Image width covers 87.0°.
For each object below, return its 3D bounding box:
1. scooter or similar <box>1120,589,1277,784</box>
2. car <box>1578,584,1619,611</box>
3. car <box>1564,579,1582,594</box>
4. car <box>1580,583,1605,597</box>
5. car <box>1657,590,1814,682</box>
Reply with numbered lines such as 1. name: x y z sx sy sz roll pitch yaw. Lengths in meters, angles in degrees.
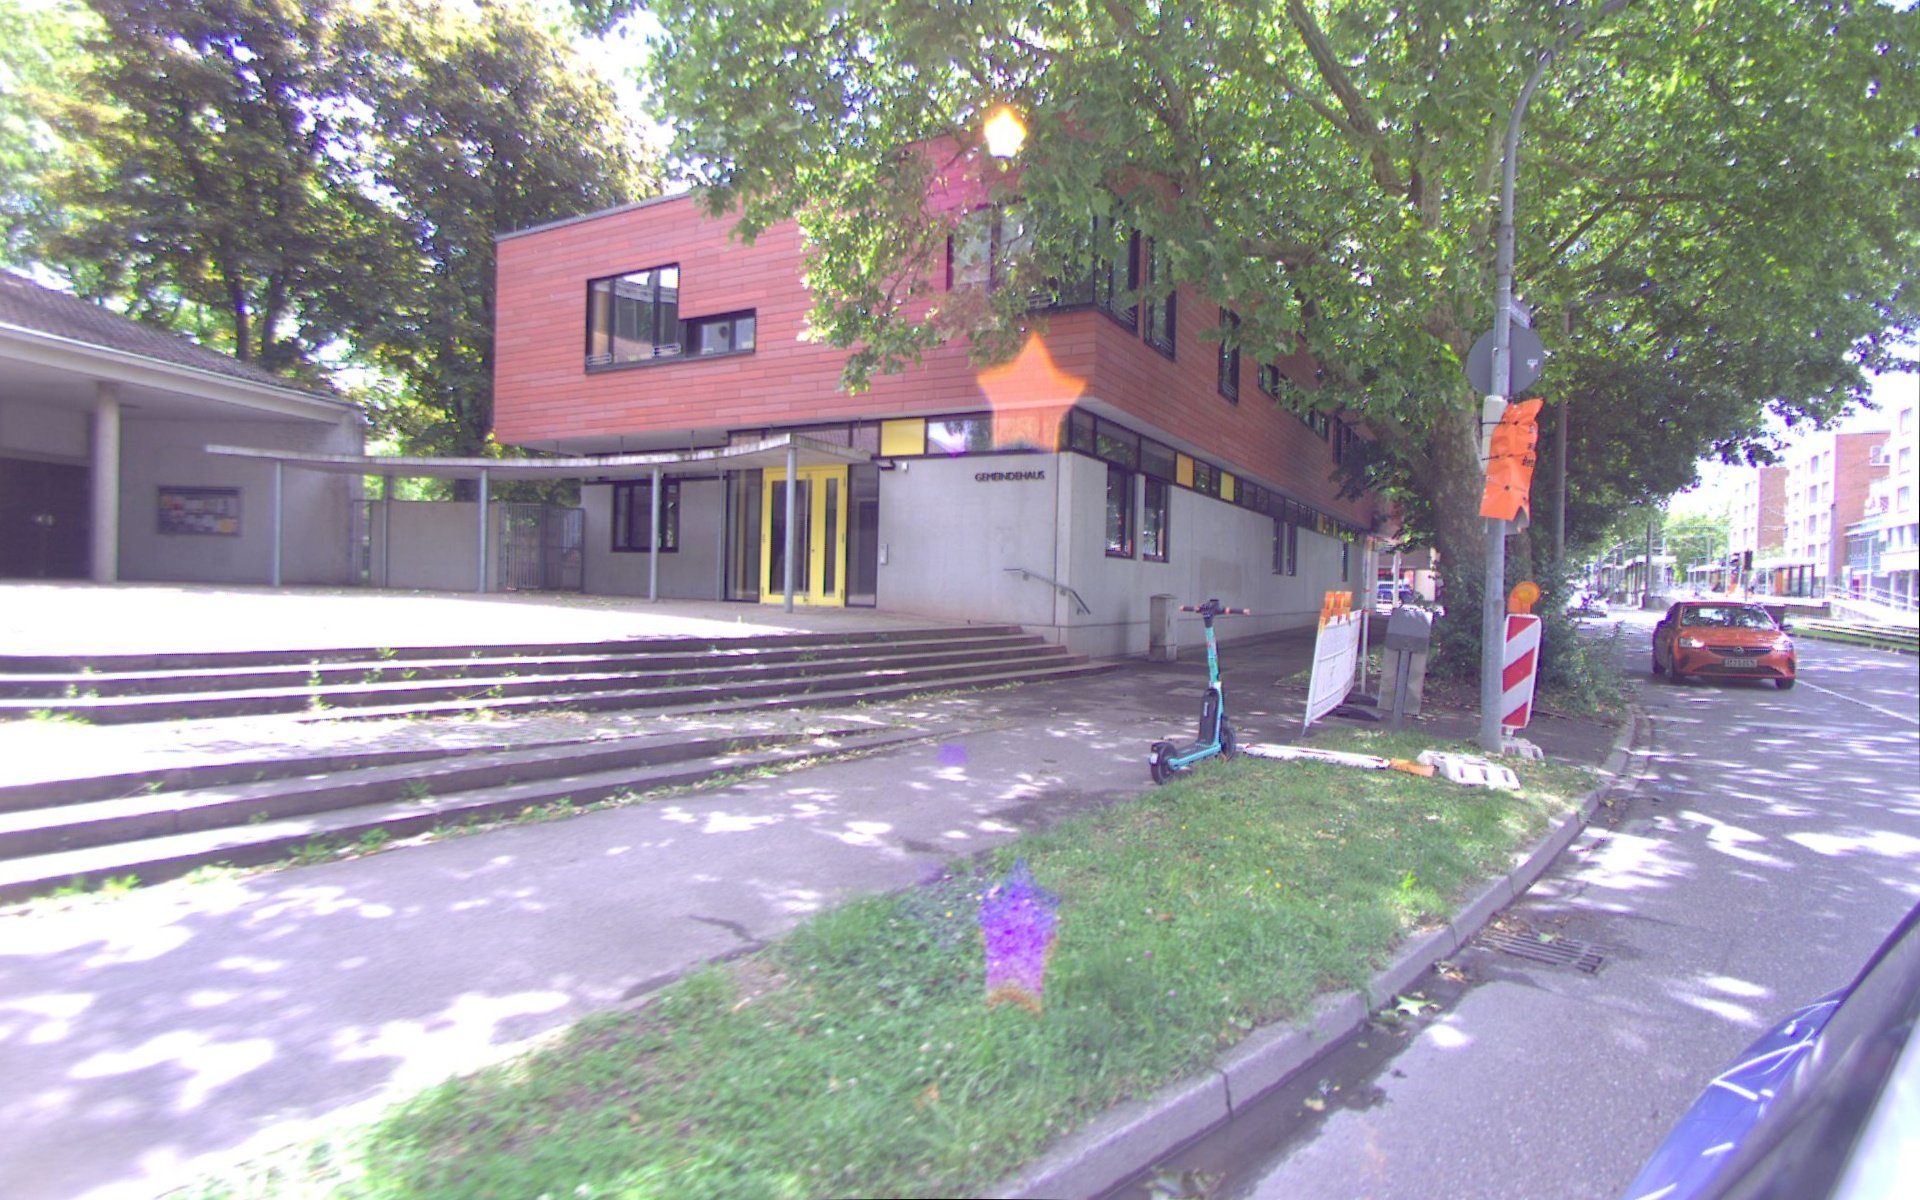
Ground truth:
1. scooter or similar: 1.723 0.560 7.242 0.564 1.247 1.176 3 3 44
2. car: 34.820 -0.155 55.251 1.756 1.431 4.192 1 1 30
3. car: 83.389 -1.833 137.595 1.985 1.838 3.956 4 2 31
4. car: 69.194 -1.117 110.723 1.983 1.370 3.734 5 3 29
5. car: 13.769 0.584 18.185 1.756 1.452 3.797 0 0 30
